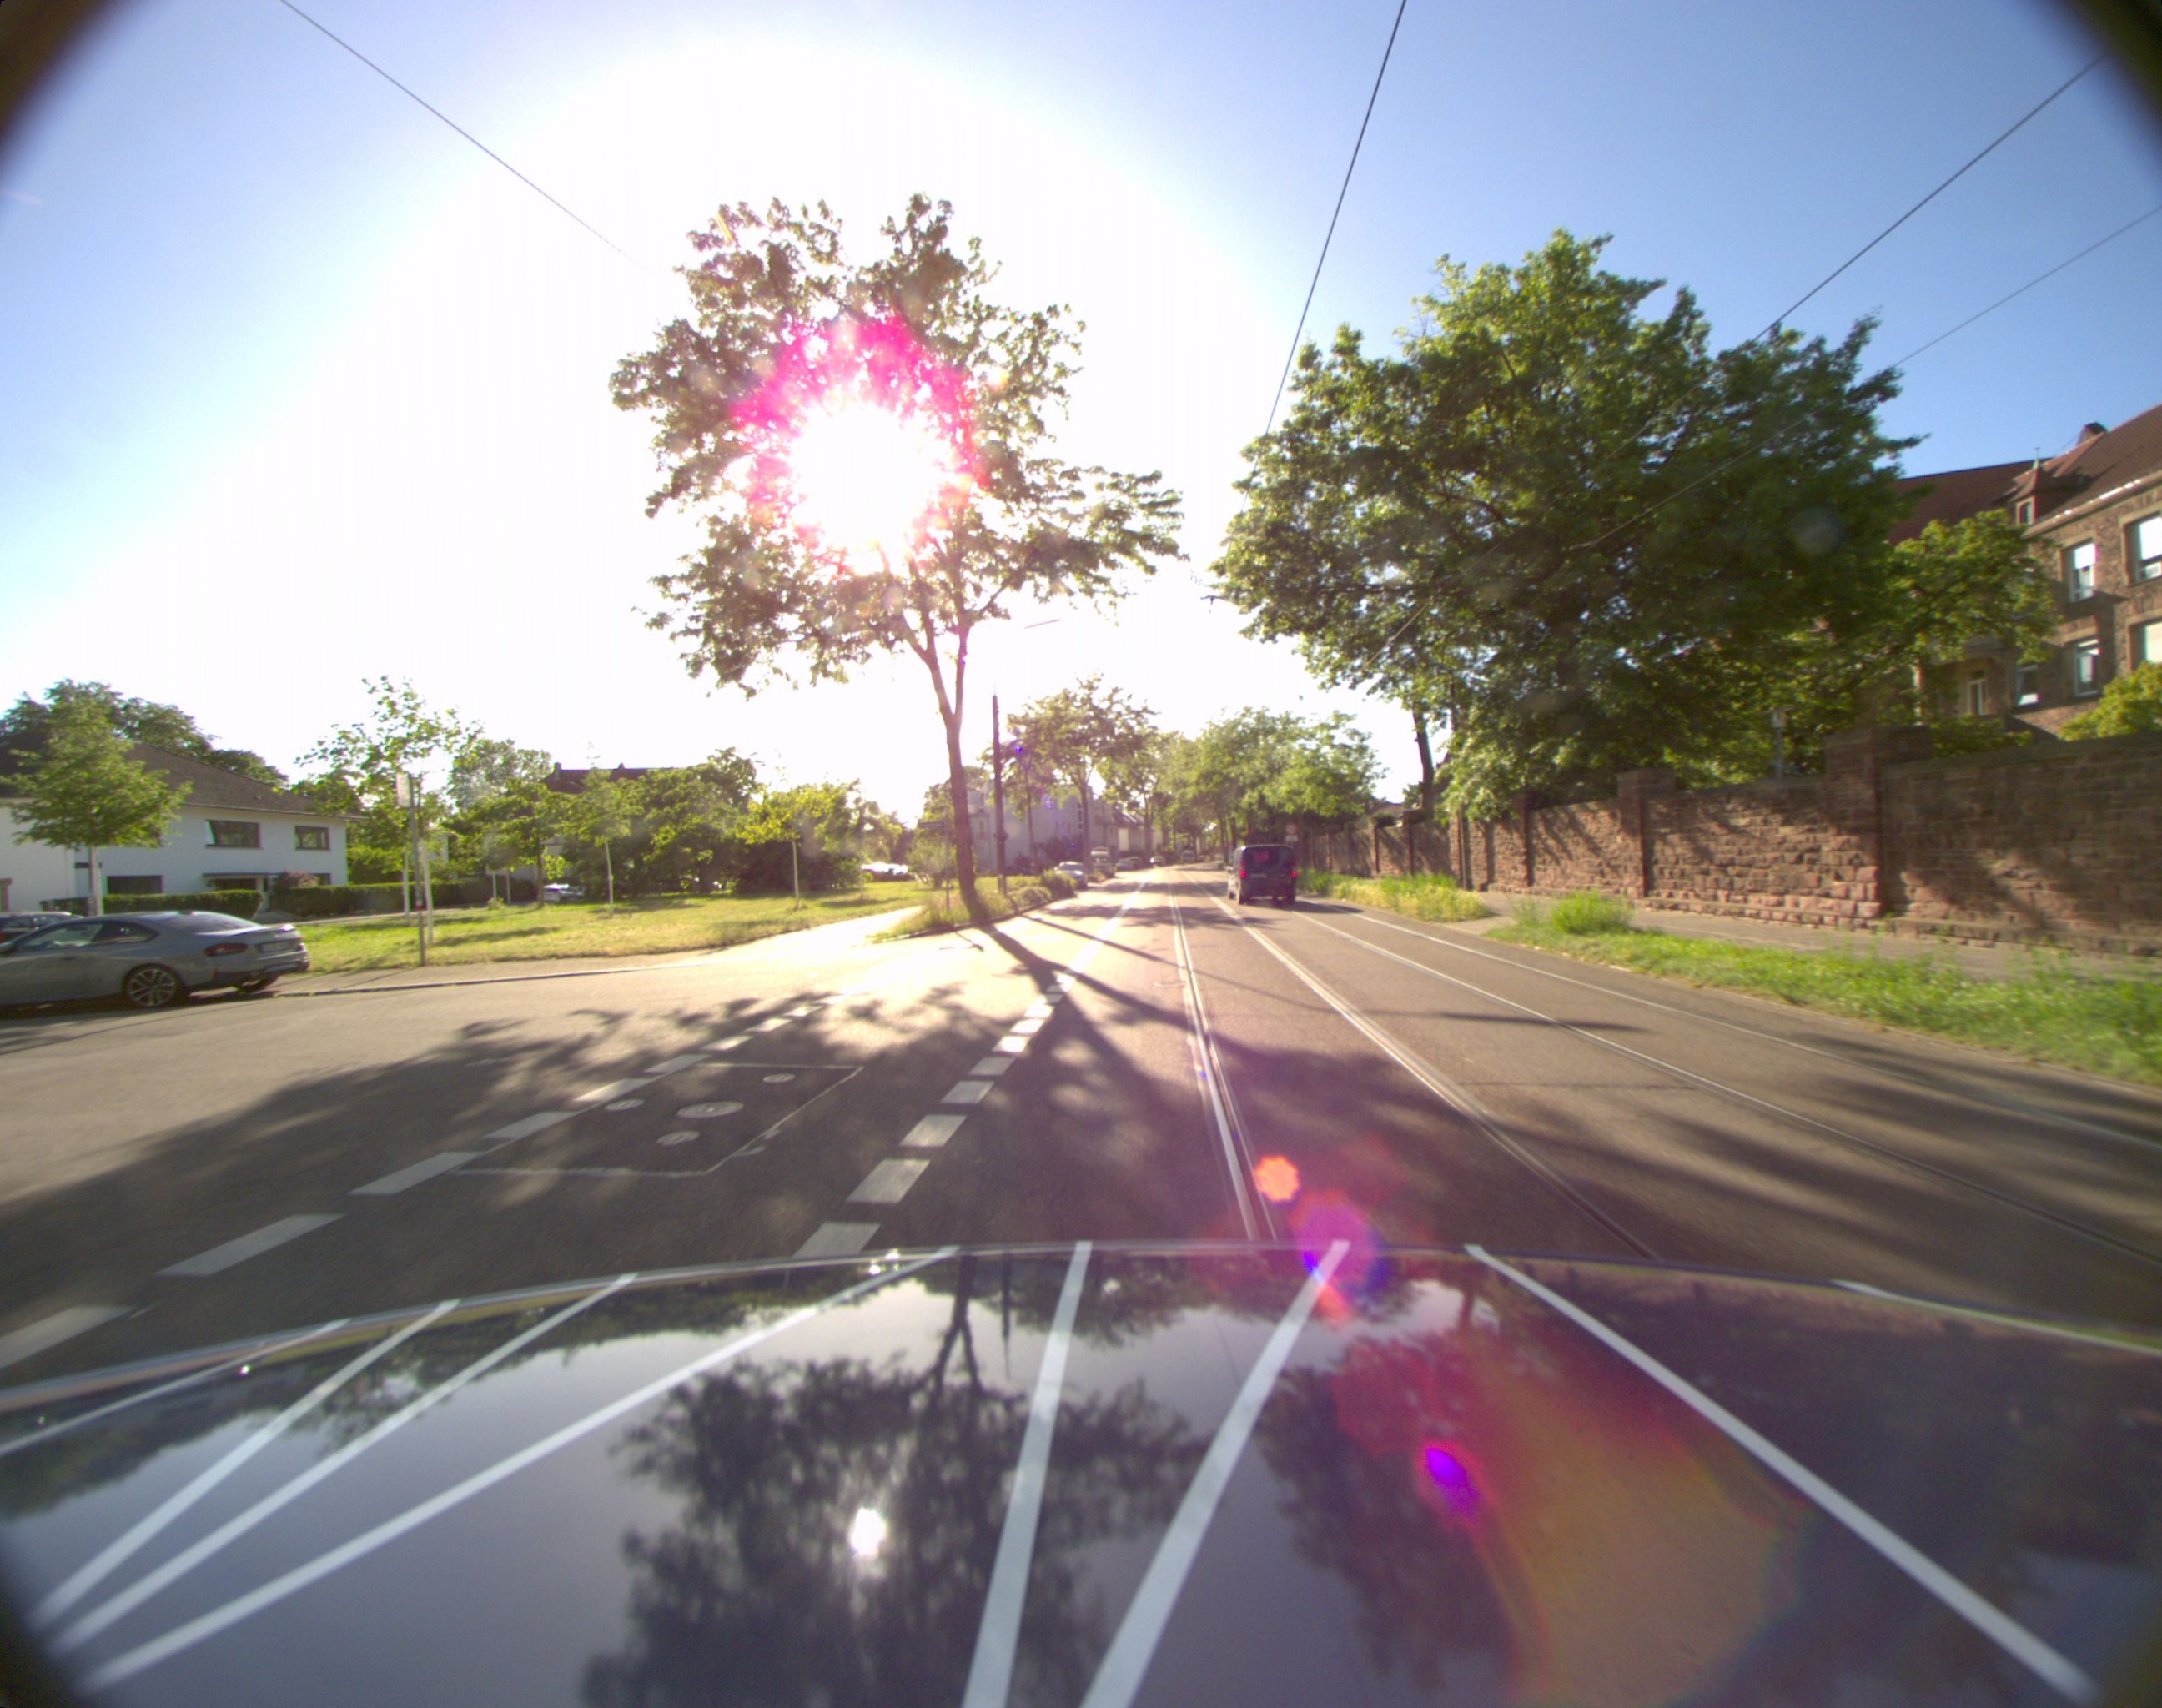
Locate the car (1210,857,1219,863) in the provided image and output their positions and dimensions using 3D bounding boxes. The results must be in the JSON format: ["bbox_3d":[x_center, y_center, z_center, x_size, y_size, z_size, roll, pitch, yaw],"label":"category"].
[{"bbox_3d":[33.440,1.594,190.929,1.786,1.368,3.659,-2,0,16],"label":"car"}]

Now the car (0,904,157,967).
[{"bbox_3d":[-33.646,2.632,24.734,2.001,1.640,4.762,-3,0,-14],"label":"car"}]

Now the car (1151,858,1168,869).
[{"bbox_3d":[11.971,1.427,116.069,1.878,1.509,4.654,-2,0,14],"label":"car"}]

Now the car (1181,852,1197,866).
[{"bbox_3d":[20.929,0.938,147.180,2.294,2.574,5.725,-2,0,16],"label":"car"}]

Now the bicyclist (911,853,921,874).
[{"bbox_3d":[-16.122,0.891,74.237,0.851,2.001,0.825,-2,-1,-11],"label":"bicyclist"}]

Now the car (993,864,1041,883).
[{"bbox_3d":[-6.276,1.891,74.271,4.464,1.482,2.006,-2,3,-12],"label":"car"}]

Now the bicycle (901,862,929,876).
[{"bbox_3d":[-16.255,1.446,74.342,2.665,1.224,0.799,-2,-1,-15],"label":"bicycle"}]

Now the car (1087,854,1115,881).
[{"bbox_3d":[1.734,1.107,63.373,1.998,2.083,4.718,-2,0,5],"label":"car"}]

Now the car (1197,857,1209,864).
[{"bbox_3d":[26.937,1.476,167.695,1.661,1.527,4.006,-2,0,20],"label":"car"}]

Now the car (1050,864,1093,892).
[{"bbox_3d":[-0.493,1.392,45.175,2.005,1.457,5.435,1,0,5],"label":"car"}]

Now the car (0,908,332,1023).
[{"bbox_3d":[-14.950,1.681,11.663,4.526,1.361,1.967,-2,0,-11],"label":"car"}]

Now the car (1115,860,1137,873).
[{"bbox_3d":[5.560,1.531,93.736,1.740,1.487,4.535,-2,0,16],"label":"car"}]

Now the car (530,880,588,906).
[{"bbox_3d":[-40.690,3.003,59.345,2.000,1.786,3.998,-2,0,-7],"label":"car"}]

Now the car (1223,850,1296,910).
[{"bbox_3d":[5.828,0.796,25.224,1.636,1.781,4.339,-1,0,4],"label":"car"}]

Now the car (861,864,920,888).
[{"bbox_3d":[-17.881,2.051,71.609,5.214,1.874,2.098,-3,0,-12],"label":"car"}]
